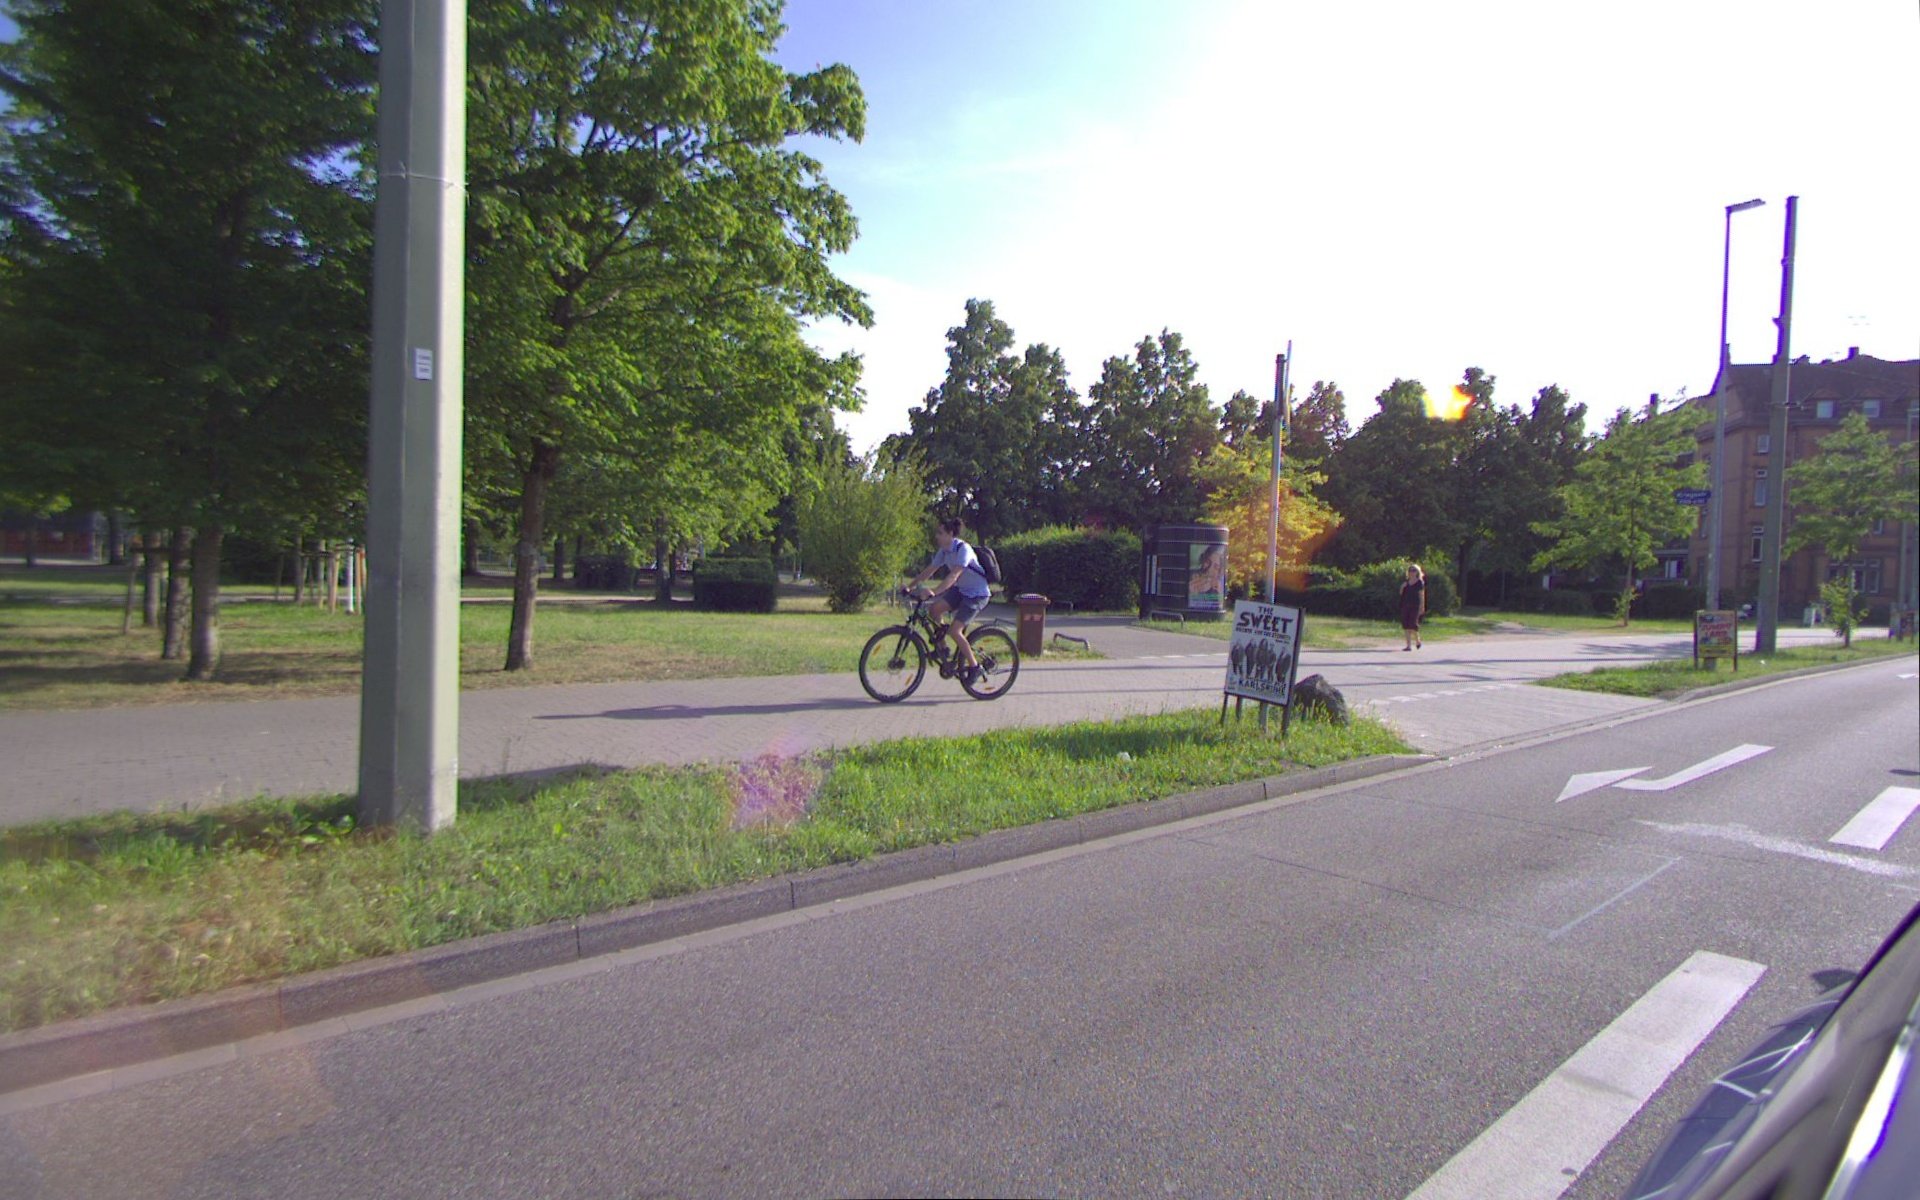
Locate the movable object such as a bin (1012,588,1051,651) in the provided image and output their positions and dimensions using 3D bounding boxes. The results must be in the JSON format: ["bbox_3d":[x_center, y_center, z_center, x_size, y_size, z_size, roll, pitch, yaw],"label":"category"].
[{"bbox_3d":[1.072,0.287,15.300,0.514,0.915,0.504,2,1,-2],"label":"movable object such as a bin"}]

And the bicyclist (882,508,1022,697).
[{"bbox_3d":[-0.082,0.008,10.078,1.117,1.766,0.652,1,4,-32],"label":"bicyclist"}]

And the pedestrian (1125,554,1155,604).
[{"bbox_3d":[7.980,-0.923,44.923,0.872,2.184,0.914,1,1,-28],"label":"pedestrian"}]

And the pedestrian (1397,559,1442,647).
[{"bbox_3d":[9.279,0.054,20.423,0.651,1.722,0.558,1,2,-41],"label":"pedestrian"}]

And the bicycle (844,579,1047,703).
[{"bbox_3d":[-0.130,0.390,10.082,1.901,1.101,0.644,1,4,-31],"label":"bicycle"}]
